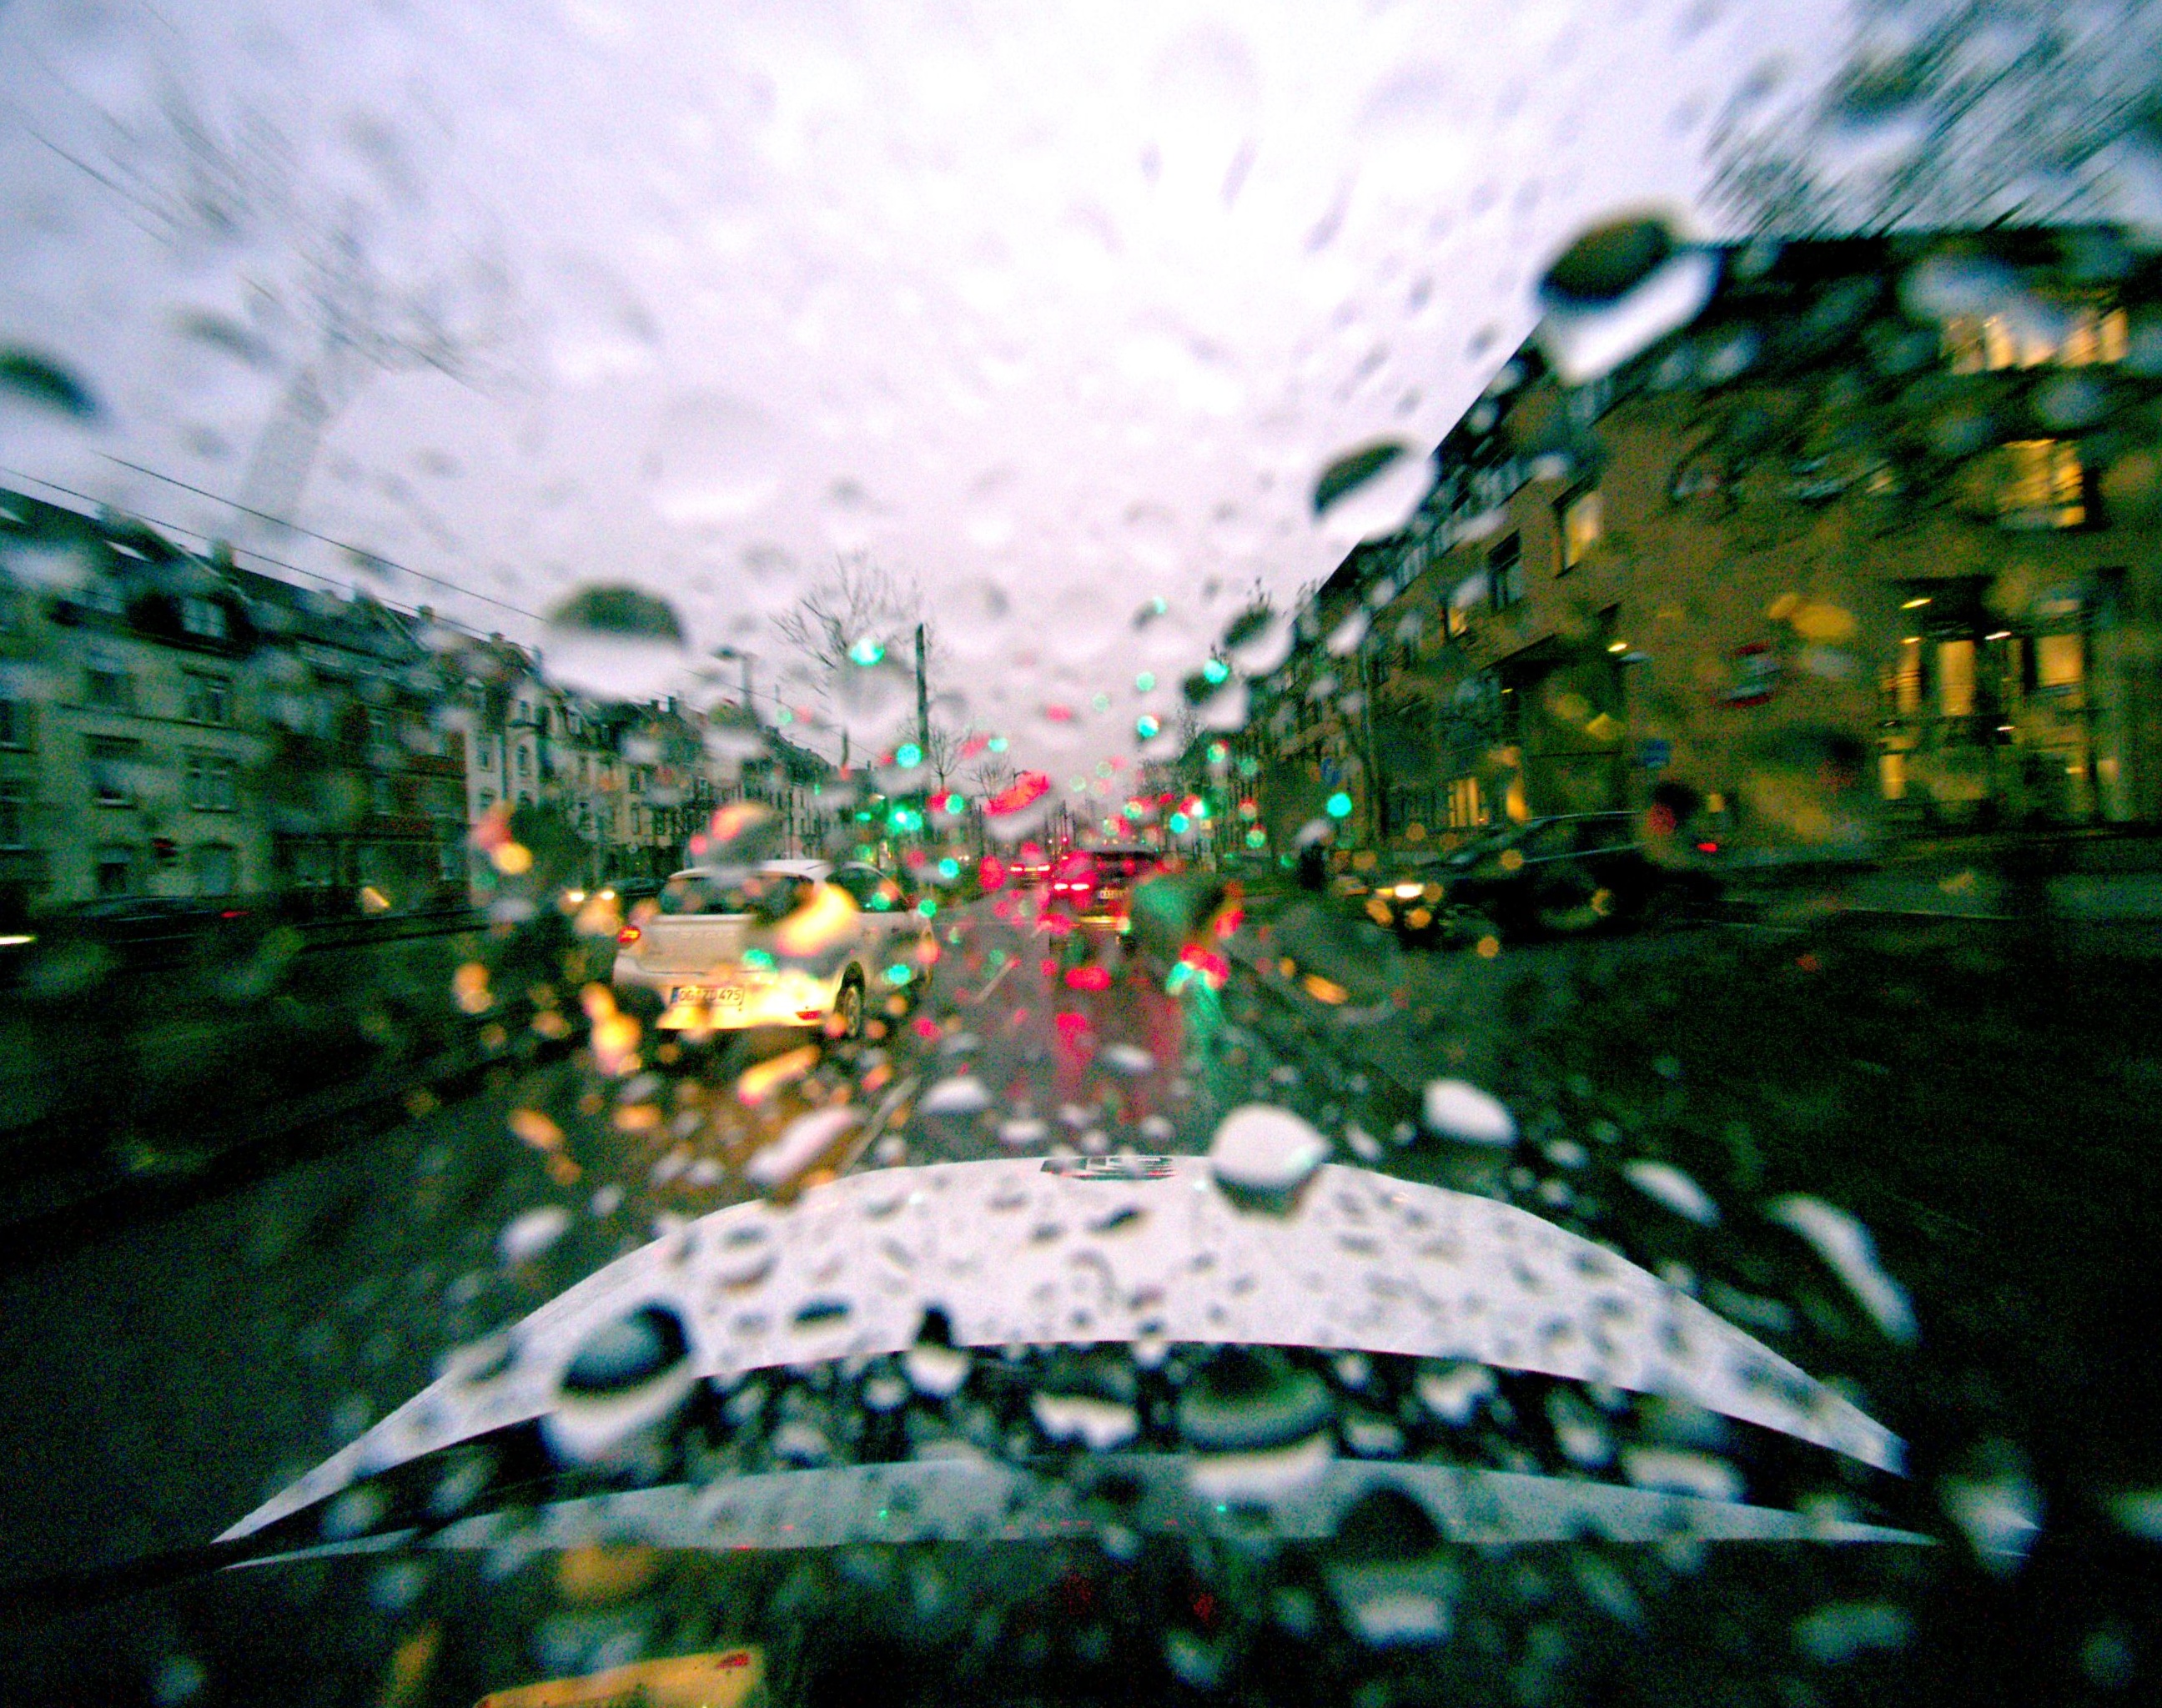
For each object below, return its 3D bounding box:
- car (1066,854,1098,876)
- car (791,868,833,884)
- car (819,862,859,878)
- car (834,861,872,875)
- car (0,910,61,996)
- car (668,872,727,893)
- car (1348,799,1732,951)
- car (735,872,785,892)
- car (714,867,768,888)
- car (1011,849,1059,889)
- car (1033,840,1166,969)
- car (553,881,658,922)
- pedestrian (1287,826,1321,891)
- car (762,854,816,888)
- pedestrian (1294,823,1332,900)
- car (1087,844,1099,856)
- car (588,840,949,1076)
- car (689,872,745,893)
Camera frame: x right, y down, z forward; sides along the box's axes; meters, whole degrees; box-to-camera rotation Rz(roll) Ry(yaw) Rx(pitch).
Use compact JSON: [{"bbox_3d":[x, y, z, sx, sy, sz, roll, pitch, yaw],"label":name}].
[{"bbox_3d":[0.109,0.744,55.621,1.986,1.298,3.481,-4,0,2],"label":"car"},{"bbox_3d":[-26.064,2.135,78.969,3.948,1.332,2.013,-3,0,39],"label":"car"},{"bbox_3d":[-25.437,1.675,85.564,3.948,1.486,2.013,-3,0,36],"label":"car"},{"bbox_3d":[-24.789,1.564,88.651,3.948,1.332,2.013,-3,0,39],"label":"car"},{"bbox_3d":[-22.412,2.012,15.105,1.857,1.637,4.002,-1,0,2],"label":"car"},{"bbox_3d":[-25.292,1.900,53.666,3.948,1.169,2.013,-3,0,40],"label":"car"},{"bbox_3d":[5.813,0.254,10.703,3.971,1.555,1.744,-4,0,2],"label":"car"},{"bbox_3d":[-25.883,2.260,65.622,3.948,1.332,2.013,-3,0,39],"label":"car"},{"bbox_3d":[-26.058,1.804,62.426,3.948,1.332,2.013,-3,0,36],"label":"car"},{"bbox_3d":[-1.964,0.624,35.791,1.665,1.600,4.056,-2,0,2],"label":"car"},{"bbox_3d":[0.313,0.638,12.464,1.665,1.600,4.056,-2,0,2],"label":"car"},{"bbox_3d":[-21.618,2.105,37.292,1.857,1.453,4.702,-4,0,2],"label":"car"},{"bbox_3d":[6.145,0.133,22.466,0.507,1.742,0.651,-4,0,-31],"label":"pedestrian"},{"bbox_3d":[-26.096,1.565,72.717,5.793,2.797,2.012,-3,0,43],"label":"car"},{"bbox_3d":[5.685,0.184,19.982,0.506,1.824,0.652,-4,0,-24],"label":"pedestrian"},{"bbox_3d":[2.157,-0.751,144.687,1.987,1.914,4.000,-4,0,0],"label":"car"},{"bbox_3d":[-2.507,0.716,7.690,1.665,1.600,4.056,-2,0,2],"label":"car"},{"bbox_3d":[-26.410,2.068,59.053,3.948,1.332,2.013,-3,0,37],"label":"car"}]
